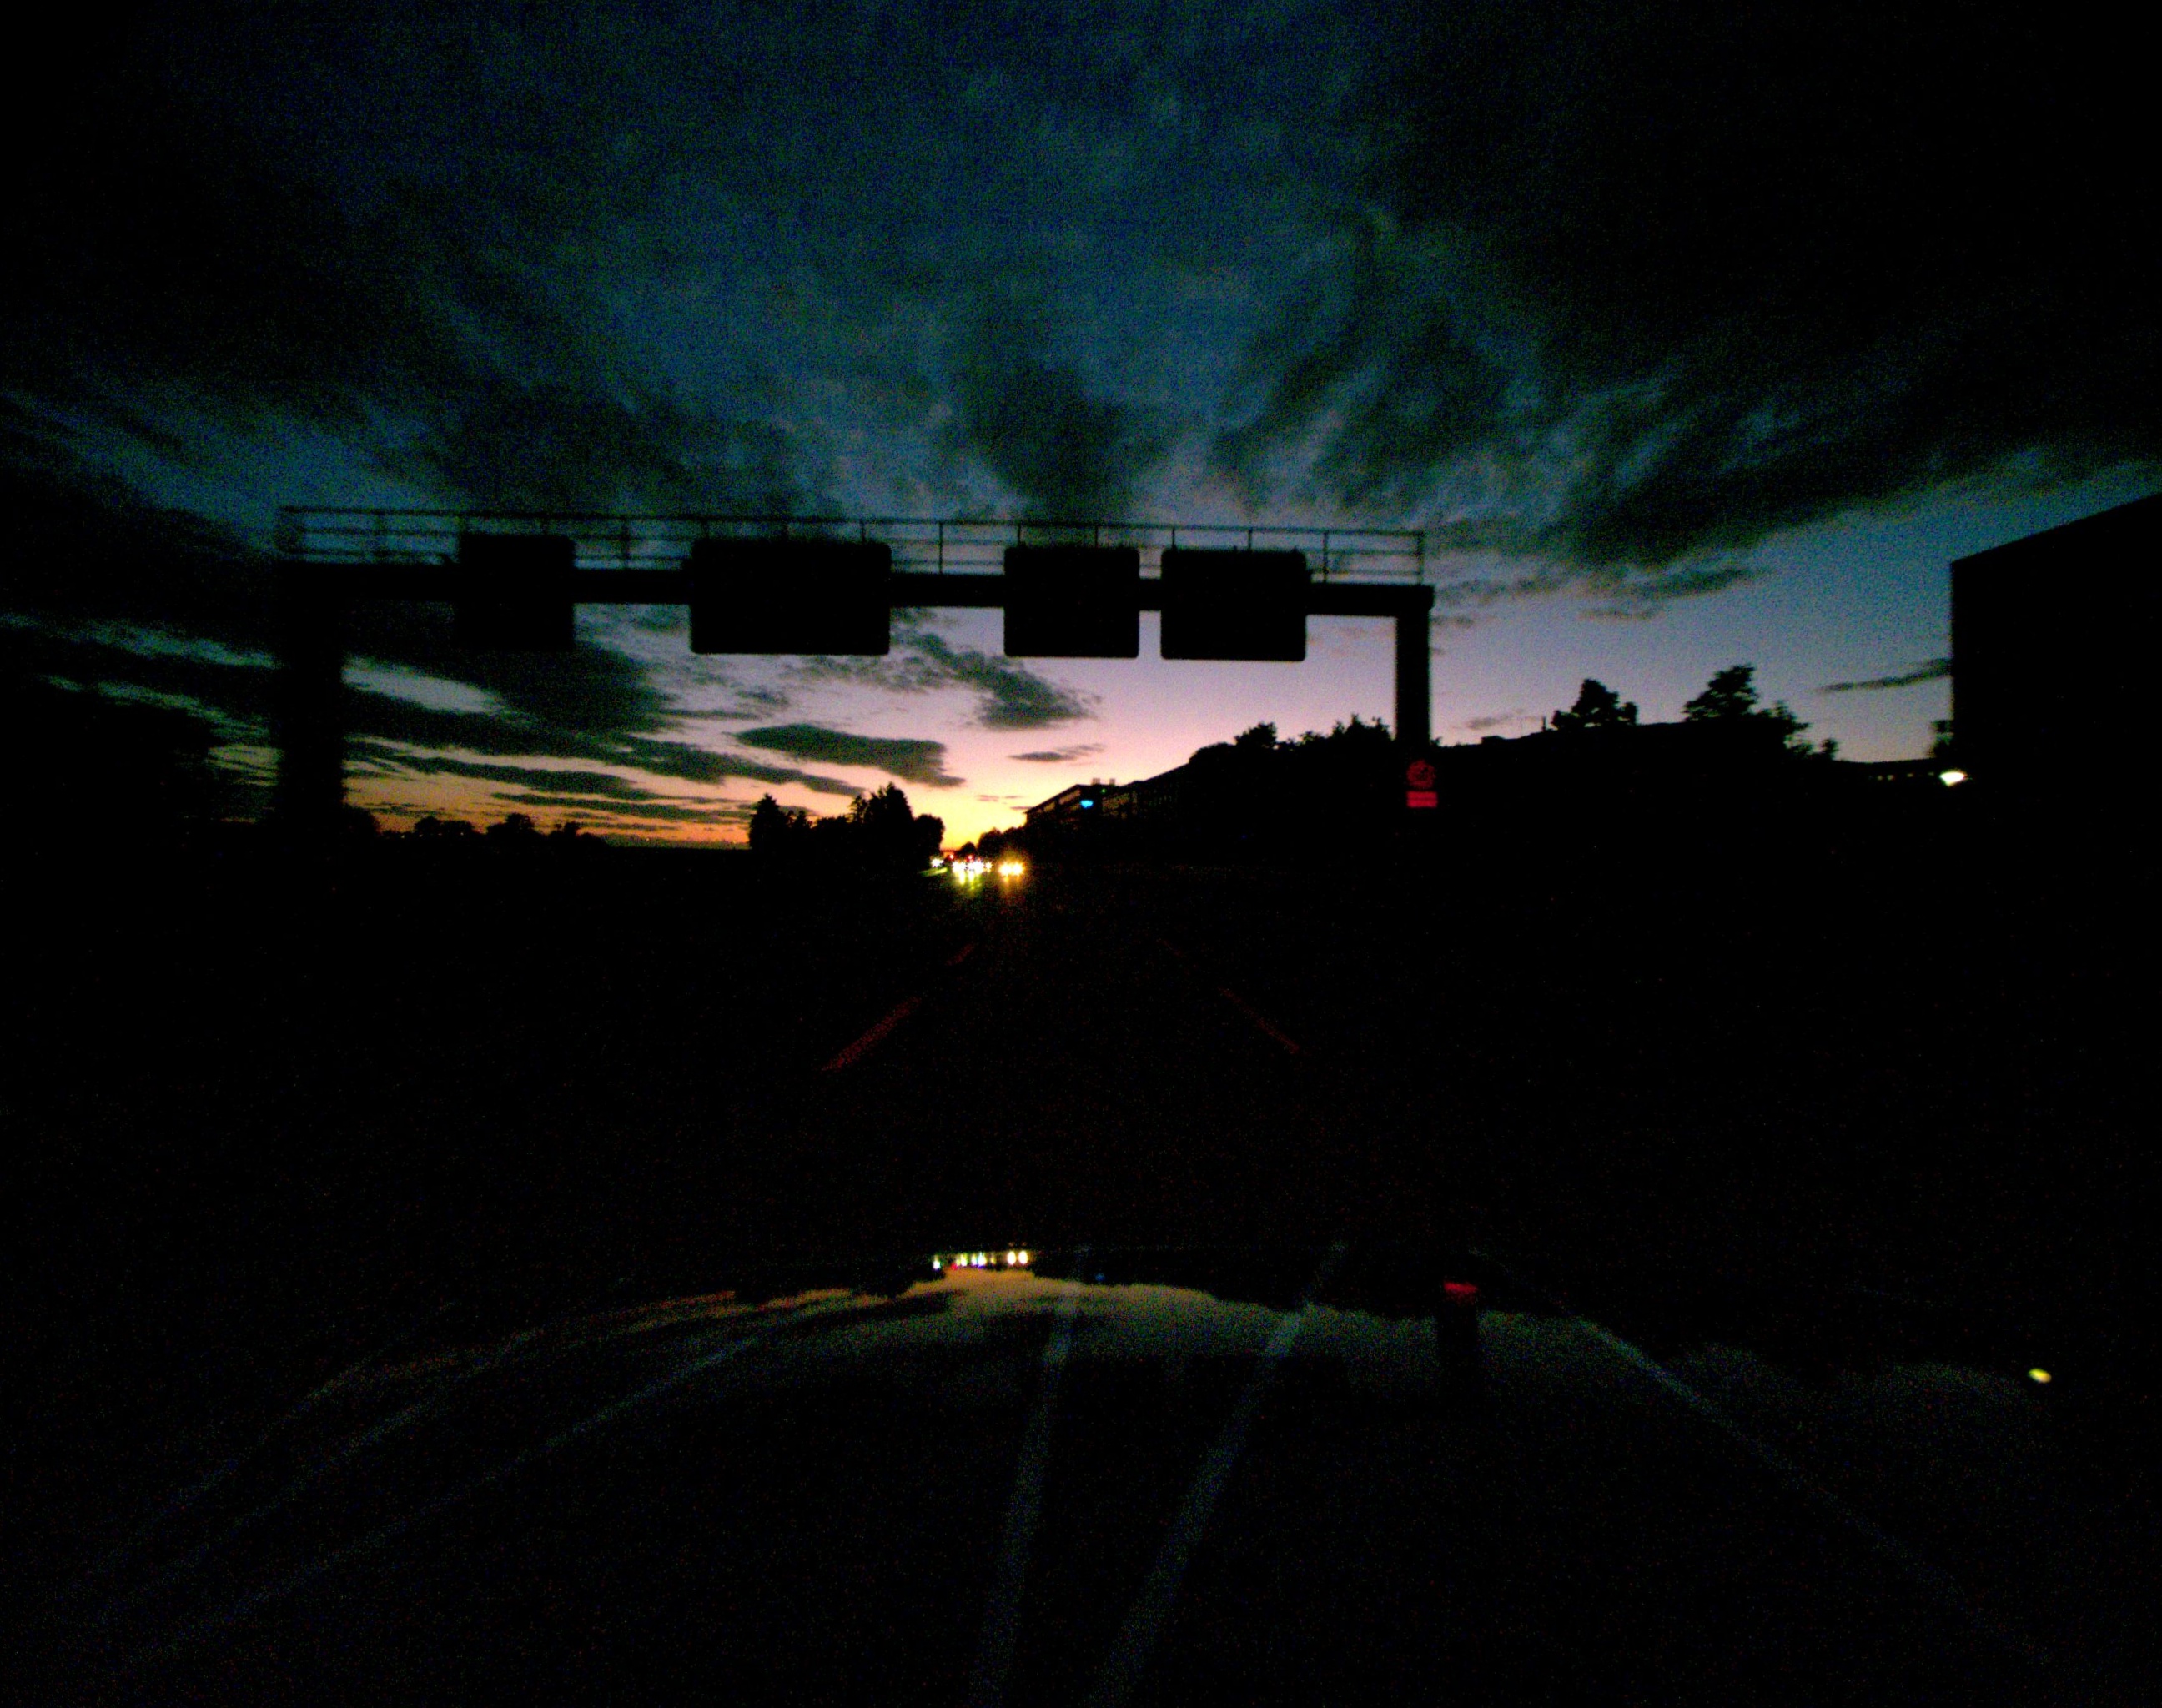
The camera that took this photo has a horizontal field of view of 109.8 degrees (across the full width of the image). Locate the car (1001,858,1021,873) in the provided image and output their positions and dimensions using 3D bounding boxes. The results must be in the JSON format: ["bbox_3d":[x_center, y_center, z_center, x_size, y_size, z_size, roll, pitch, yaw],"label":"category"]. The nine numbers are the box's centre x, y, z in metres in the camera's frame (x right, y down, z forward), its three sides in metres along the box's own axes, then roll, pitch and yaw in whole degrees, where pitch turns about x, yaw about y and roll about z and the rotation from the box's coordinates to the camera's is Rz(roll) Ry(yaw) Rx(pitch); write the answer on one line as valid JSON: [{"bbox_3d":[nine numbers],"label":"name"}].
[{"bbox_3d":[-7.166,1.150,77.207,1.757,1.447,3.800,-3,0,-9],"label":"car"}]

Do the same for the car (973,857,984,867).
[{"bbox_3d":[-20.227,1.558,149.821,1.834,1.739,3.847,-3,0,-9],"label":"car"}]

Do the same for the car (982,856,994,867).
[{"bbox_3d":[-16.539,1.323,135.387,1.862,2.002,3.998,-2,0,-4],"label":"car"}]

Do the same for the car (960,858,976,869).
[{"bbox_3d":[-17.562,1.525,118.070,1.999,1.574,3.998,-2,0,-4],"label":"car"}]

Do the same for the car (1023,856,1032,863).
[{"bbox_3d":[-12.213,1.317,173.827,1.706,1.613,4.303,-1,0,-10],"label":"car"}]
